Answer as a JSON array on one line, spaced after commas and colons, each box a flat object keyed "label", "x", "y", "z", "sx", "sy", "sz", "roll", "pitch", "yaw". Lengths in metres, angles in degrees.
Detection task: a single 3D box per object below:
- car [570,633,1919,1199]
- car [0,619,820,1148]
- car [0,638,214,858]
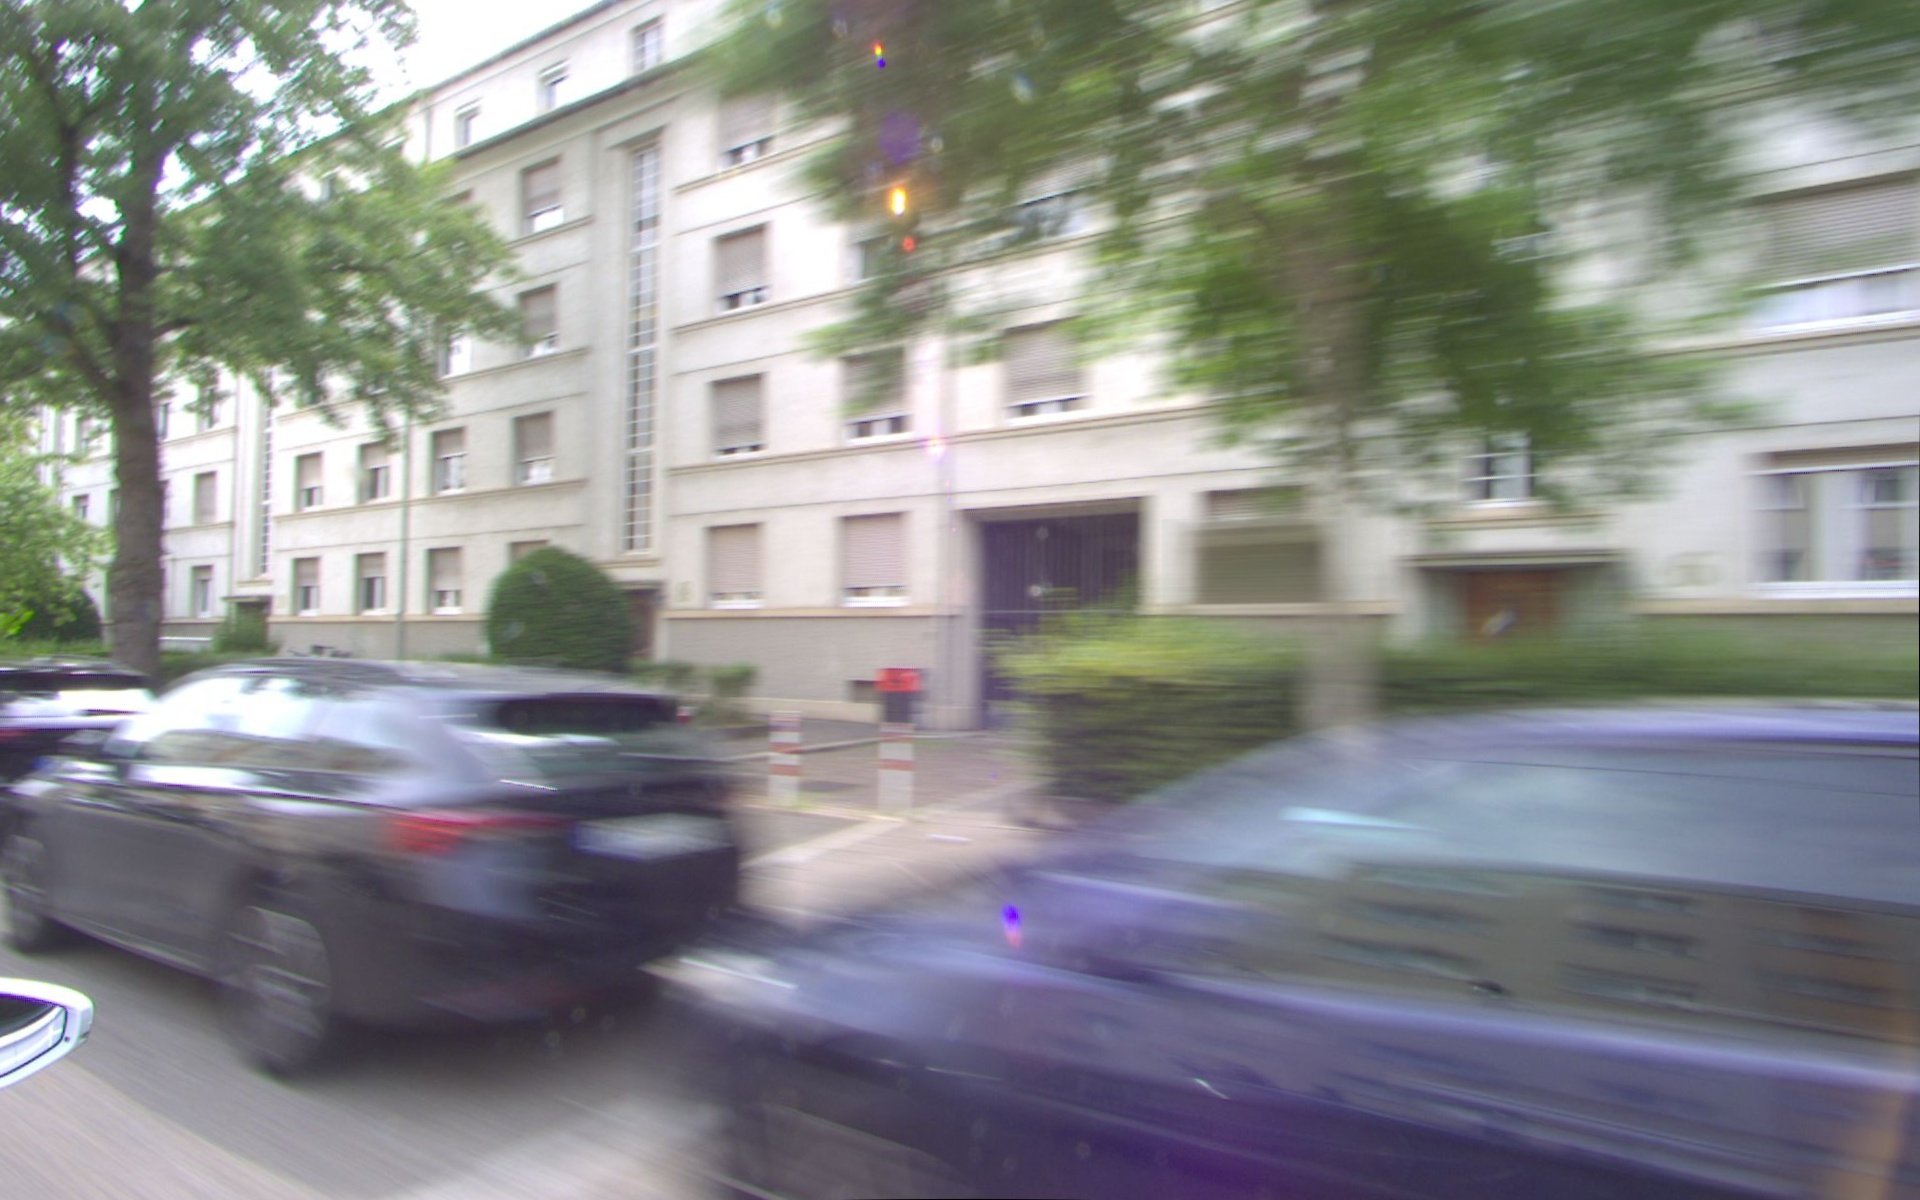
[{"label": "car", "x": 1.230, "y": 0.858, "z": 2.039, "sx": 4.043, "sy": 1.487, "sz": 1.695, "roll": -1, "pitch": -5, "yaw": 33}, {"label": "car", "x": -2.959, "y": 0.898, "z": 4.792, "sx": 4.495, "sy": 1.487, "sz": 1.695, "roll": -1, "pitch": -5, "yaw": 33}, {"label": "car", "x": -8.341, "y": 1.064, "z": 8.333, "sx": 4.684, "sy": 1.487, "sz": 1.697, "roll": -1, "pitch": -4, "yaw": 31}]
